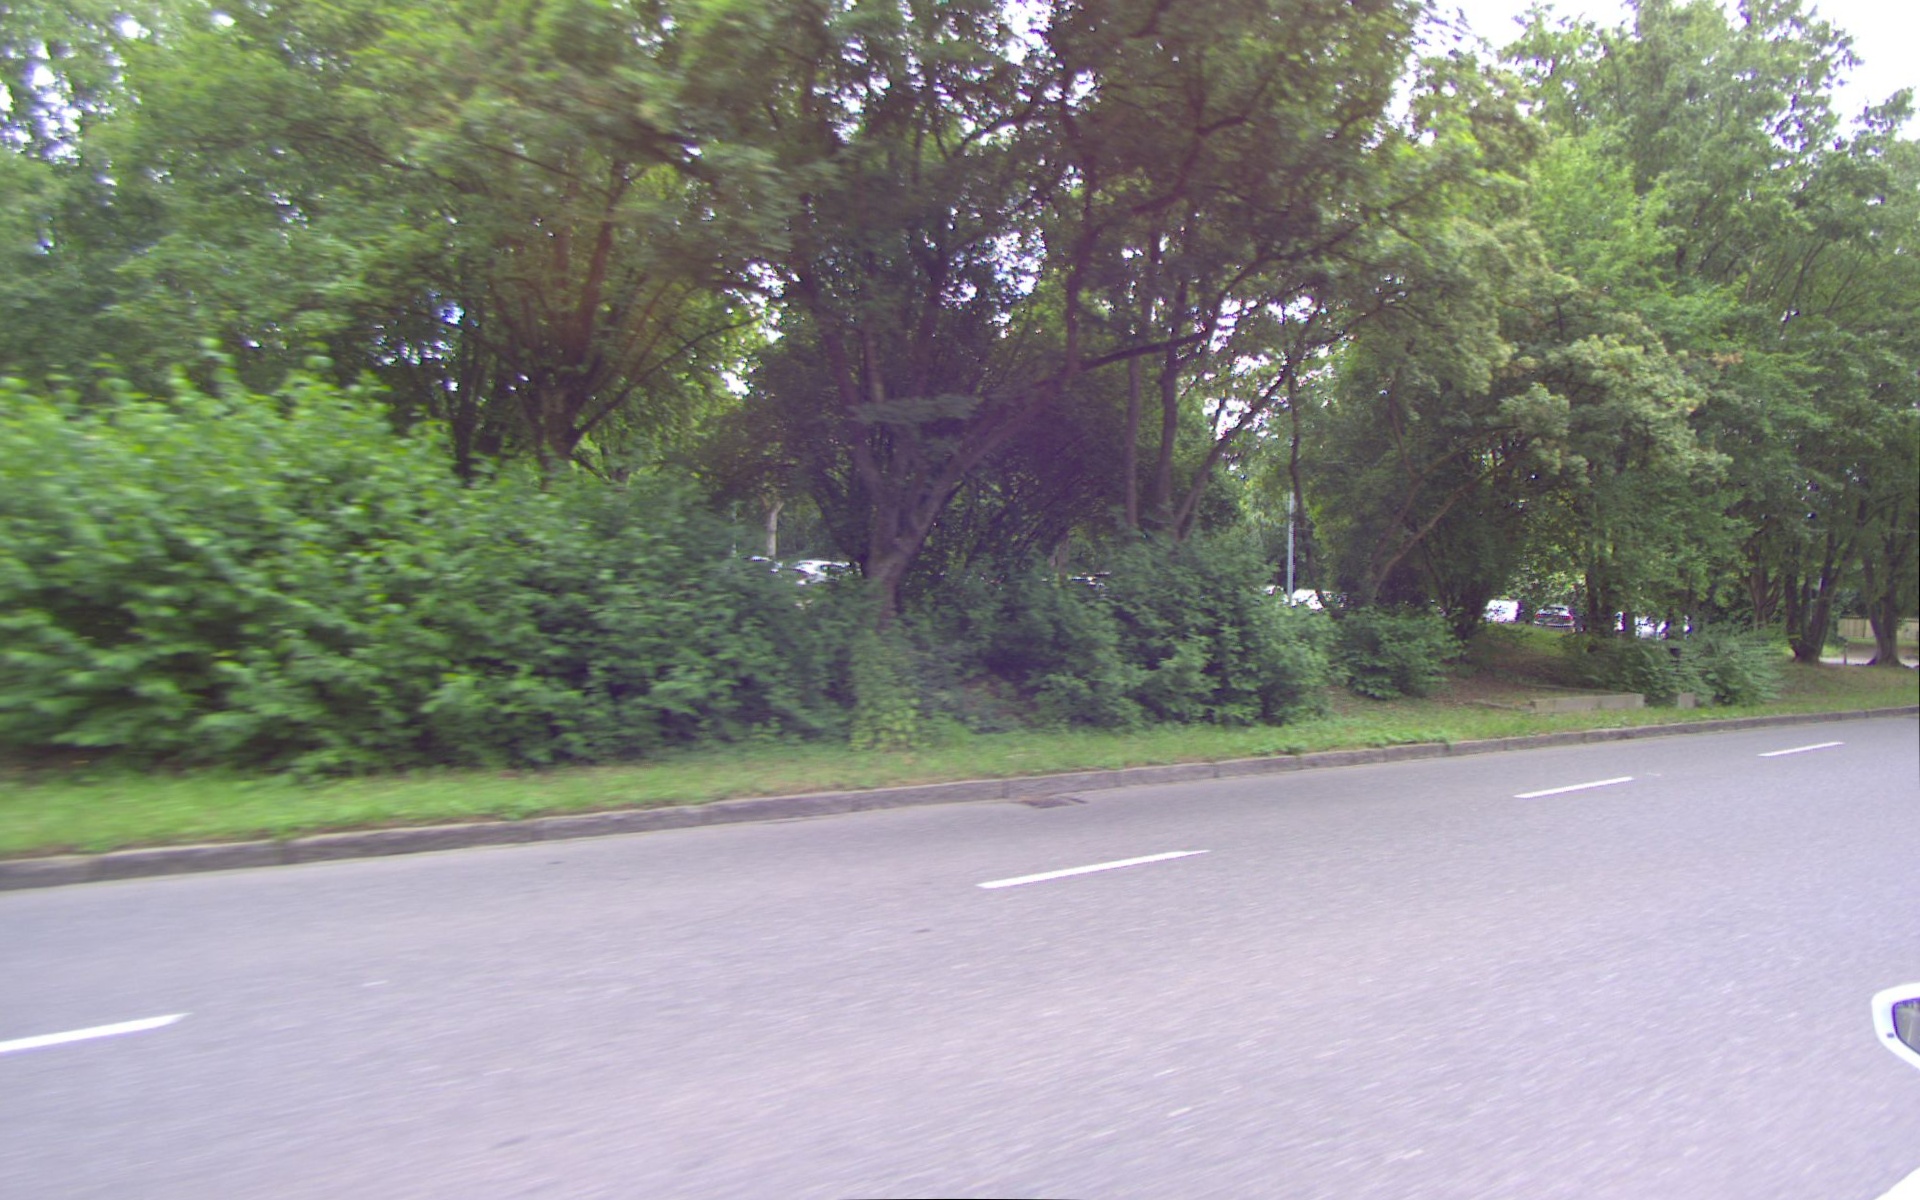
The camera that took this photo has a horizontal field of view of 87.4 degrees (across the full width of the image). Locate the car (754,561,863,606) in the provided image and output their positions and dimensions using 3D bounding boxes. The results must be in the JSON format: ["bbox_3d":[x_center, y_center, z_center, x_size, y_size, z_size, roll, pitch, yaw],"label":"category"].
[{"bbox_3d":[-5.466,-0.587,36.652,1.624,1.506,3.986,2,0,36],"label":"car"}]

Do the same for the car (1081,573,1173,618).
[{"bbox_3d":[6.066,-0.146,36.135,1.624,1.506,3.986,2,0,36],"label":"car"}]

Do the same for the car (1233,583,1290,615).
[{"bbox_3d":[14.853,-0.024,49.397,1.515,1.434,3.365,4,1,38],"label":"car"}]

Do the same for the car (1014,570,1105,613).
[{"bbox_3d":[3.798,-0.308,37.979,1.624,1.506,3.986,2,0,36],"label":"car"}]

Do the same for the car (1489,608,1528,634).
[{"bbox_3d":[28.422,1.100,51.982,1.247,1.228,3.058,4,1,38],"label":"car"}]

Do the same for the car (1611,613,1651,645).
[{"bbox_3d":[32.710,1.405,48.942,1.354,1.420,3.058,4,1,38],"label":"car"}]

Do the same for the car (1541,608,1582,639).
[{"bbox_3d":[30.285,1.176,50.558,1.354,1.420,3.058,4,1,38],"label":"car"}]
